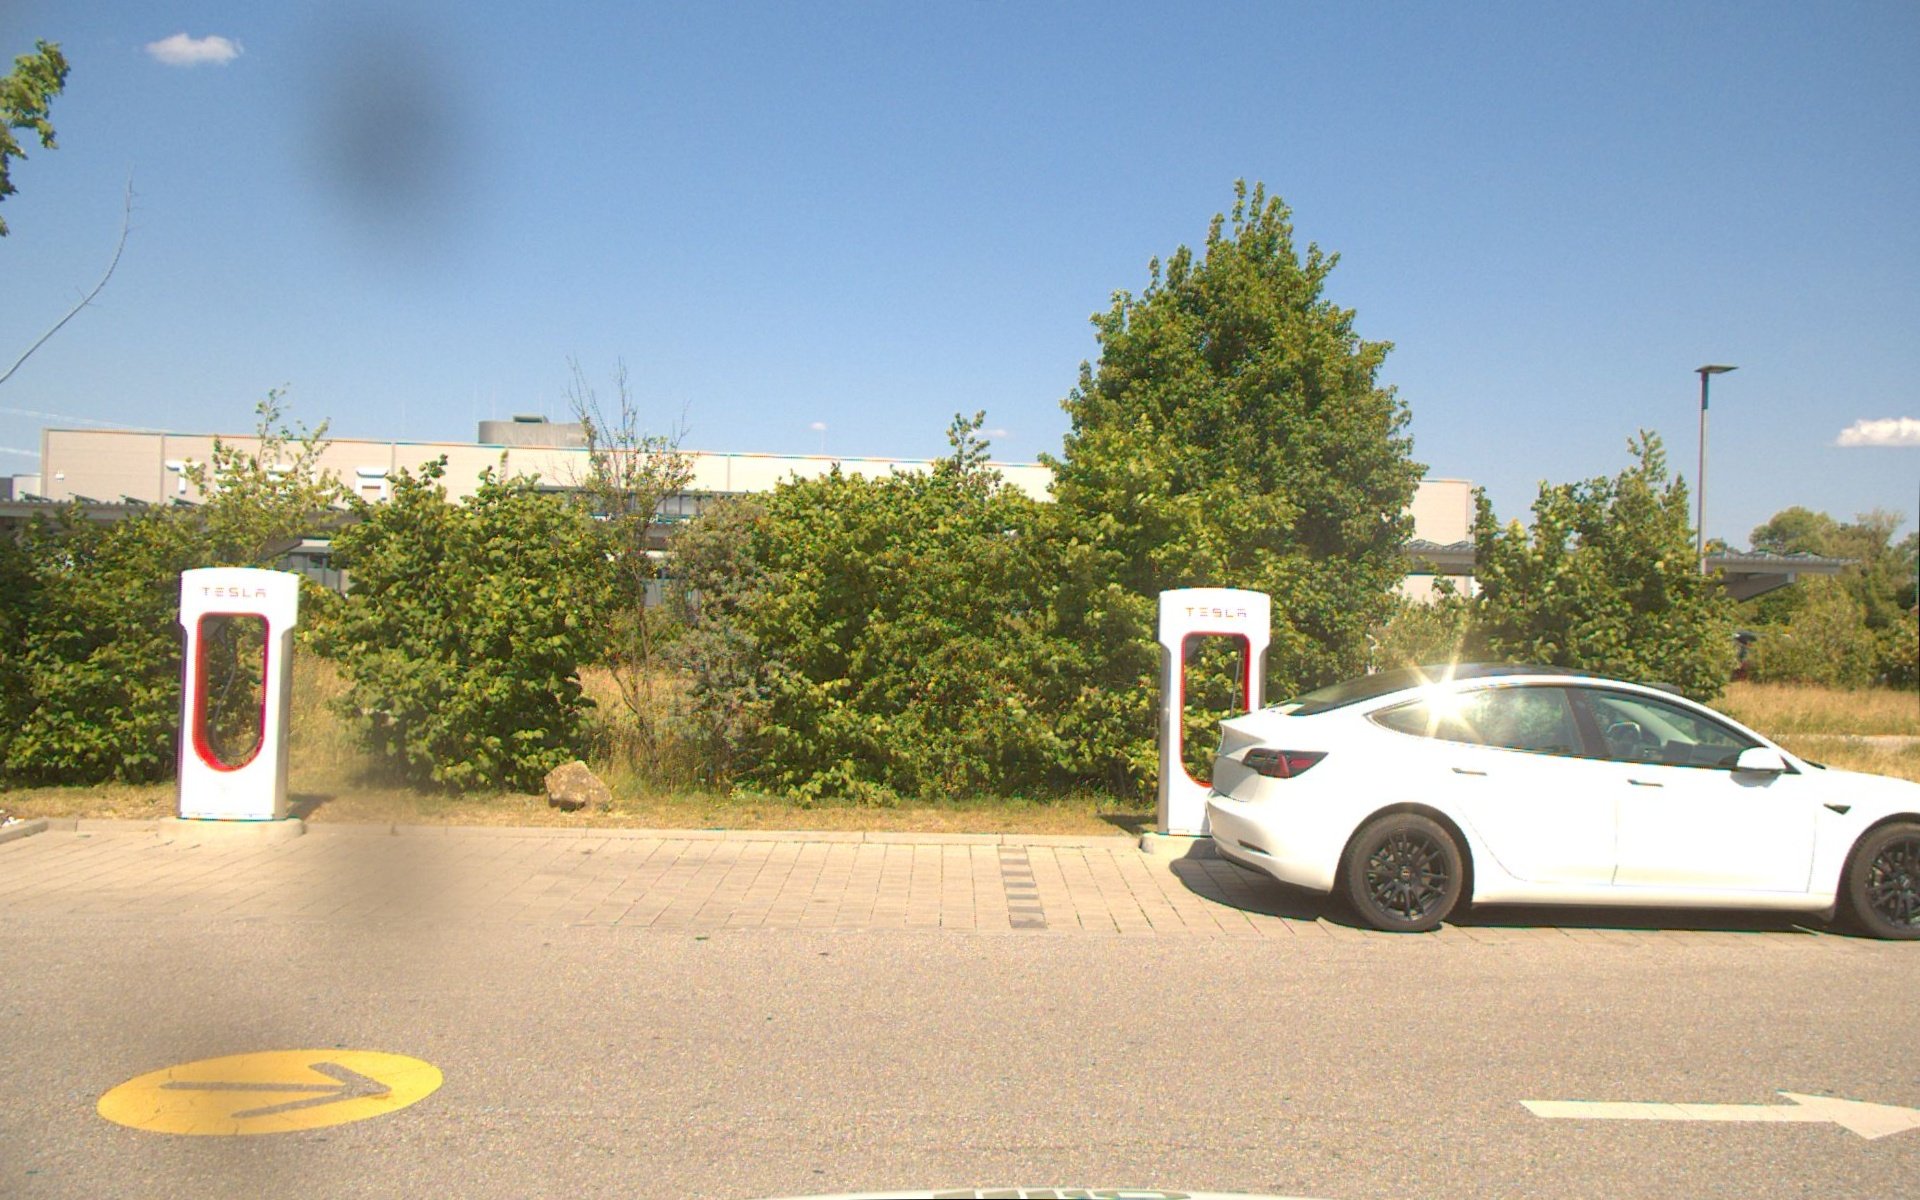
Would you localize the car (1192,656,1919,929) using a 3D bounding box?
[{"bbox_3d":[3.721,1.092,9.940,4.345,1.402,1.821,1,-1,-3],"label":"car"}]
